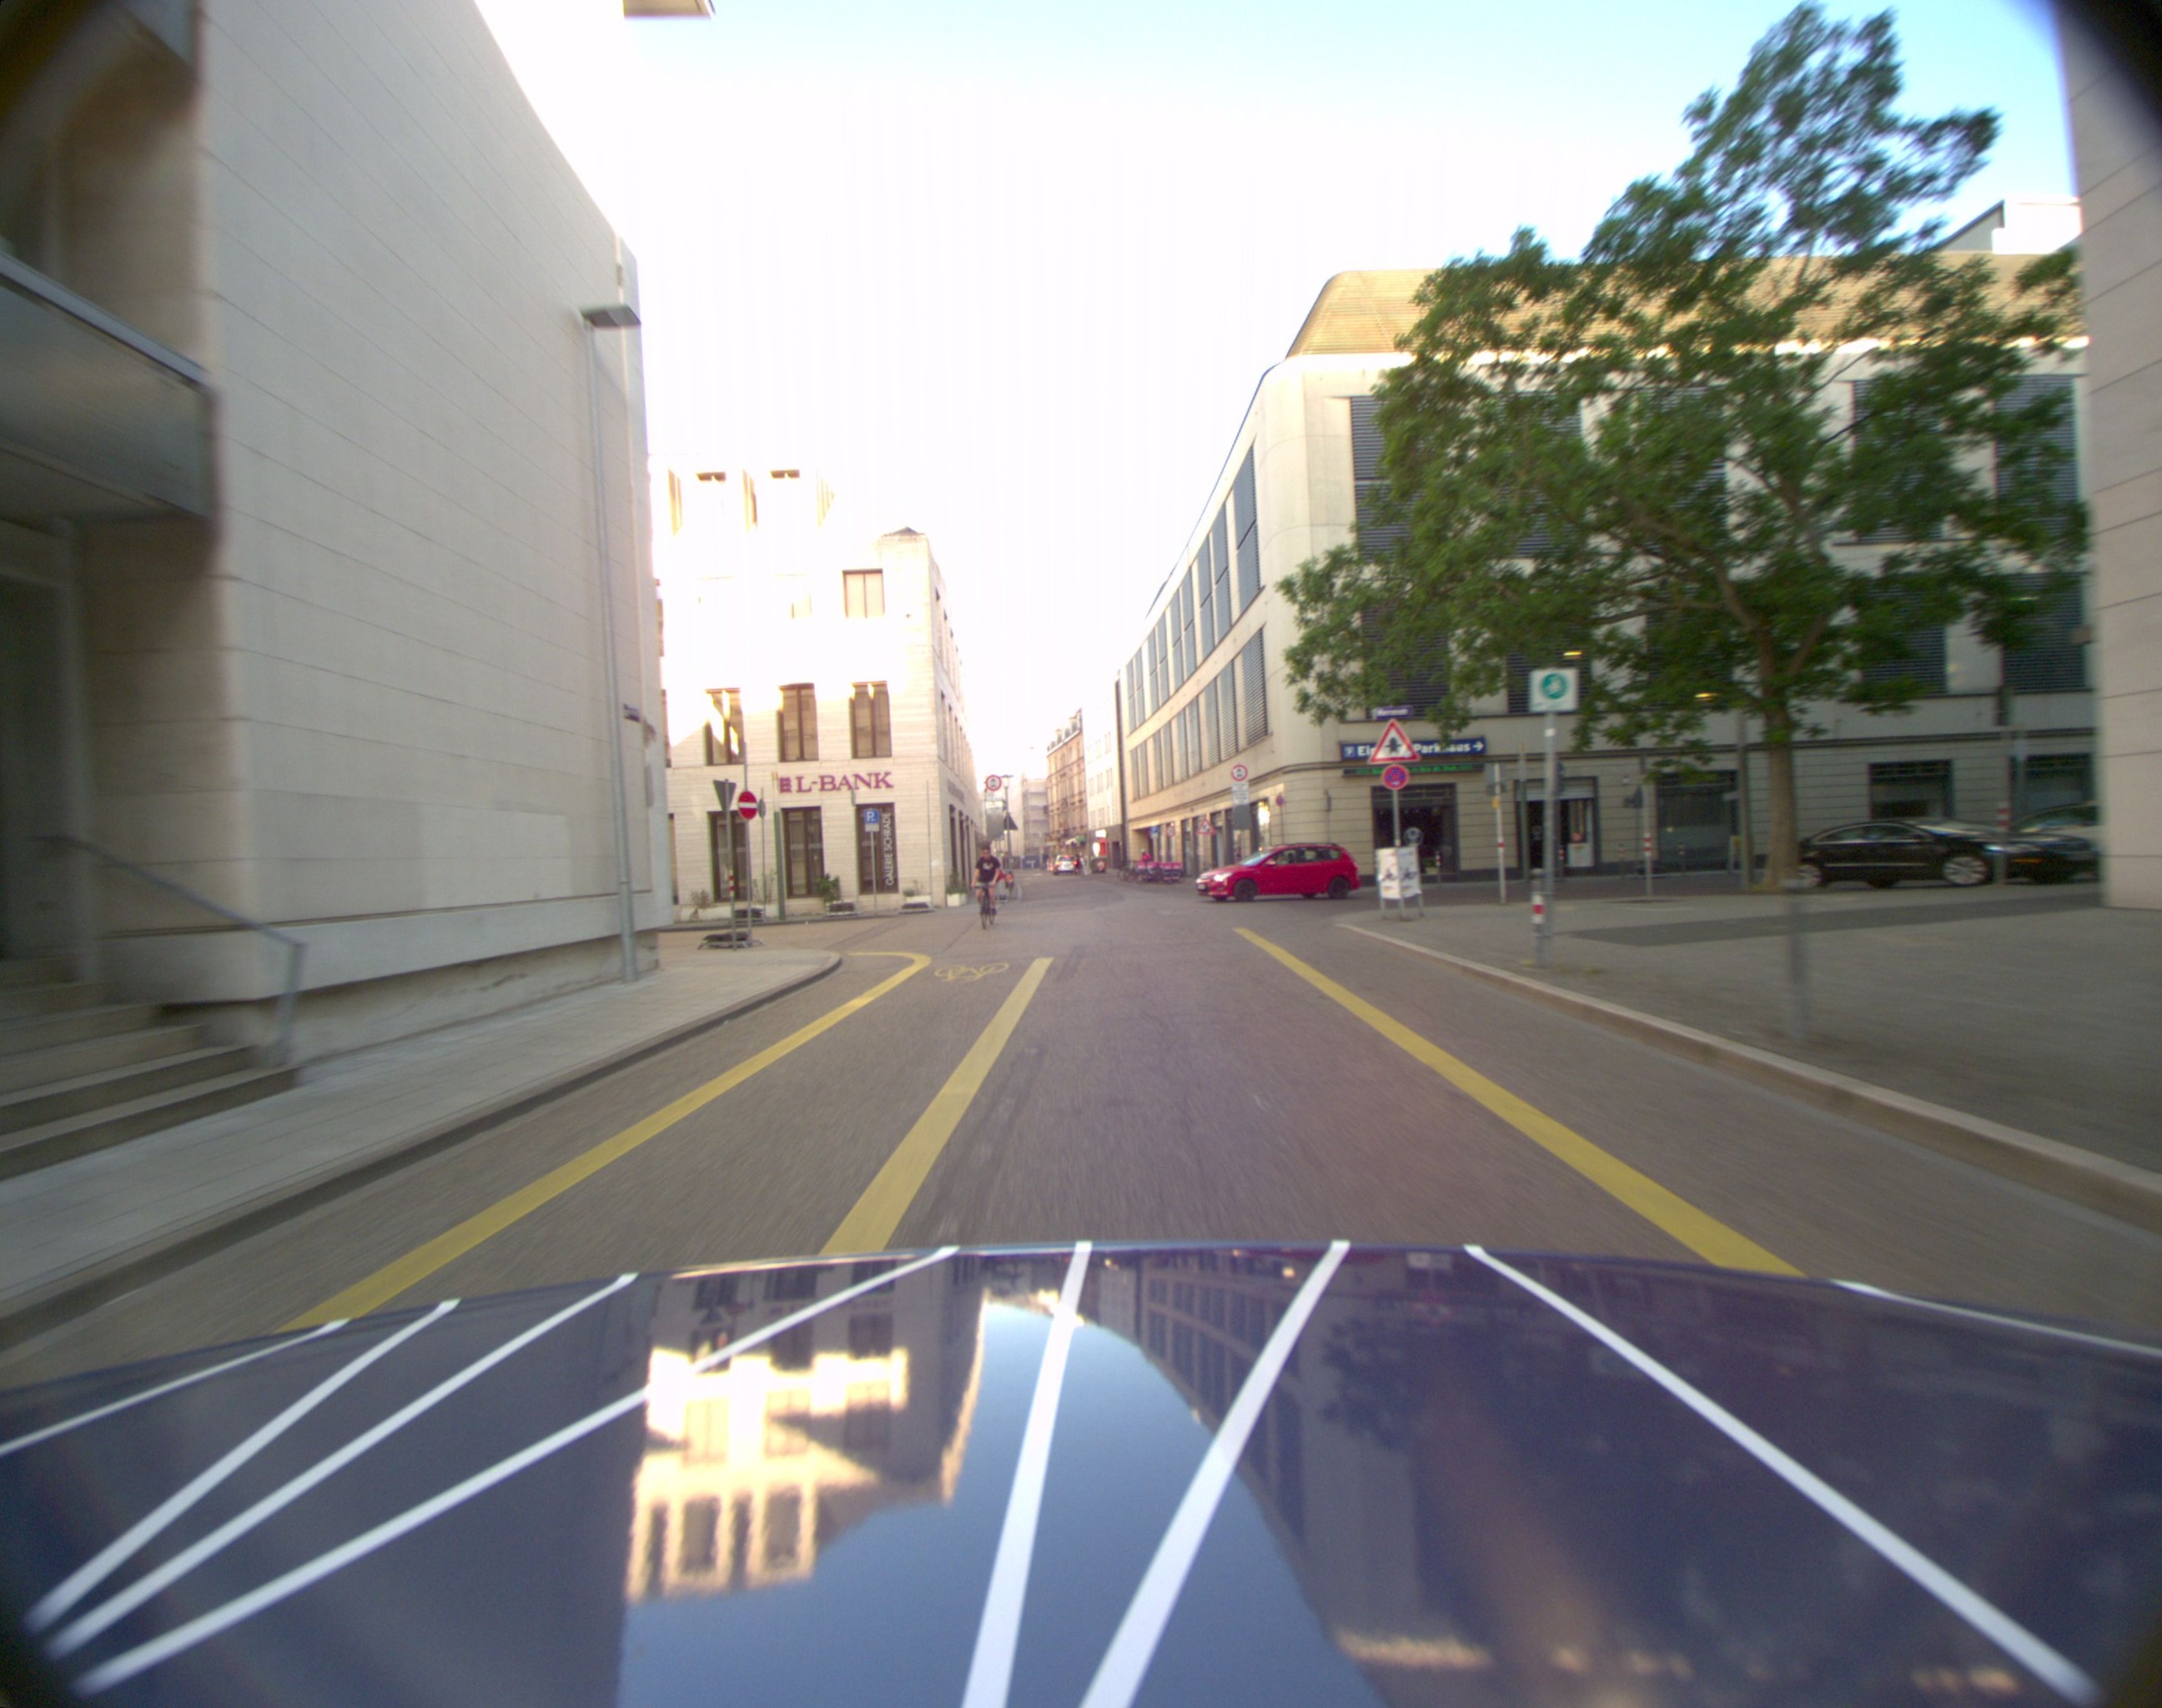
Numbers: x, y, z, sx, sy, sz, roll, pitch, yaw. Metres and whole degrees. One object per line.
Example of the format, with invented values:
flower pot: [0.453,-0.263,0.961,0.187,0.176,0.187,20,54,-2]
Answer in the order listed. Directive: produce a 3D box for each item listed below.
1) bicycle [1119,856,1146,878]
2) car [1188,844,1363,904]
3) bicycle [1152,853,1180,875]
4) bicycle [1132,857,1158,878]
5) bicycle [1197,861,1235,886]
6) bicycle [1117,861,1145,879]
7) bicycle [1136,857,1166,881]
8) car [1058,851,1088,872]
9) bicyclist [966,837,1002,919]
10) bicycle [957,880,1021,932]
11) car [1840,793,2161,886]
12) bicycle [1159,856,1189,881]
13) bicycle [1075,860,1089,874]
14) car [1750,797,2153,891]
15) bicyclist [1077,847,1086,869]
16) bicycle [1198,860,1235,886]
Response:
bicycle: [2.973,0.768,44.194,1.517,1.242,0.353,-2,2,6]
car: [5.242,0.491,20.659,4.265,1.456,1.826,-1,1,-14]
bicycle: [4.812,0.566,43.023,1.516,1.242,0.353,-2,2,14]
bicycle: [3.870,0.815,45.856,1.517,1.242,0.353,-2,2,10]
bicycle: [5.804,0.831,32.682,1.516,1.027,0.353,-3,0,19]
bicycle: [2.842,0.908,43.259,1.517,0.947,0.353,-2,2,3]
bicycle: [3.775,0.805,41.085,1.516,1.242,0.353,-2,2,14]
car: [-0.740,0.603,63.934,2.177,1.652,3.997,-2,1,-5]
bicyclist: [-2.089,0.514,16.377,0.500,1.722,0.552,-1,2,25]
bicycle: [-1.976,1.112,16.597,0.510,0.968,1.823,-1,1,23]
car: [18.943,-0.172,15.308,1.999,1.490,5.022,-2,-3,-4]
bicycle: [4.867,0.777,39.967,1.518,1.242,0.353,-2,2,2]
bicycle: [0.065,0.951,56.281,0.518,0.989,2.106,-2,1,-12]
car: [16.656,-0.059,15.112,1.999,1.442,5.022,-2,-3,-4]
bicyclist: [0.022,0.319,56.347,0.498,1.616,0.631,-2,2,-13]
bicycle: [5.904,0.829,33.058,1.516,1.027,0.353,-3,0,19]
